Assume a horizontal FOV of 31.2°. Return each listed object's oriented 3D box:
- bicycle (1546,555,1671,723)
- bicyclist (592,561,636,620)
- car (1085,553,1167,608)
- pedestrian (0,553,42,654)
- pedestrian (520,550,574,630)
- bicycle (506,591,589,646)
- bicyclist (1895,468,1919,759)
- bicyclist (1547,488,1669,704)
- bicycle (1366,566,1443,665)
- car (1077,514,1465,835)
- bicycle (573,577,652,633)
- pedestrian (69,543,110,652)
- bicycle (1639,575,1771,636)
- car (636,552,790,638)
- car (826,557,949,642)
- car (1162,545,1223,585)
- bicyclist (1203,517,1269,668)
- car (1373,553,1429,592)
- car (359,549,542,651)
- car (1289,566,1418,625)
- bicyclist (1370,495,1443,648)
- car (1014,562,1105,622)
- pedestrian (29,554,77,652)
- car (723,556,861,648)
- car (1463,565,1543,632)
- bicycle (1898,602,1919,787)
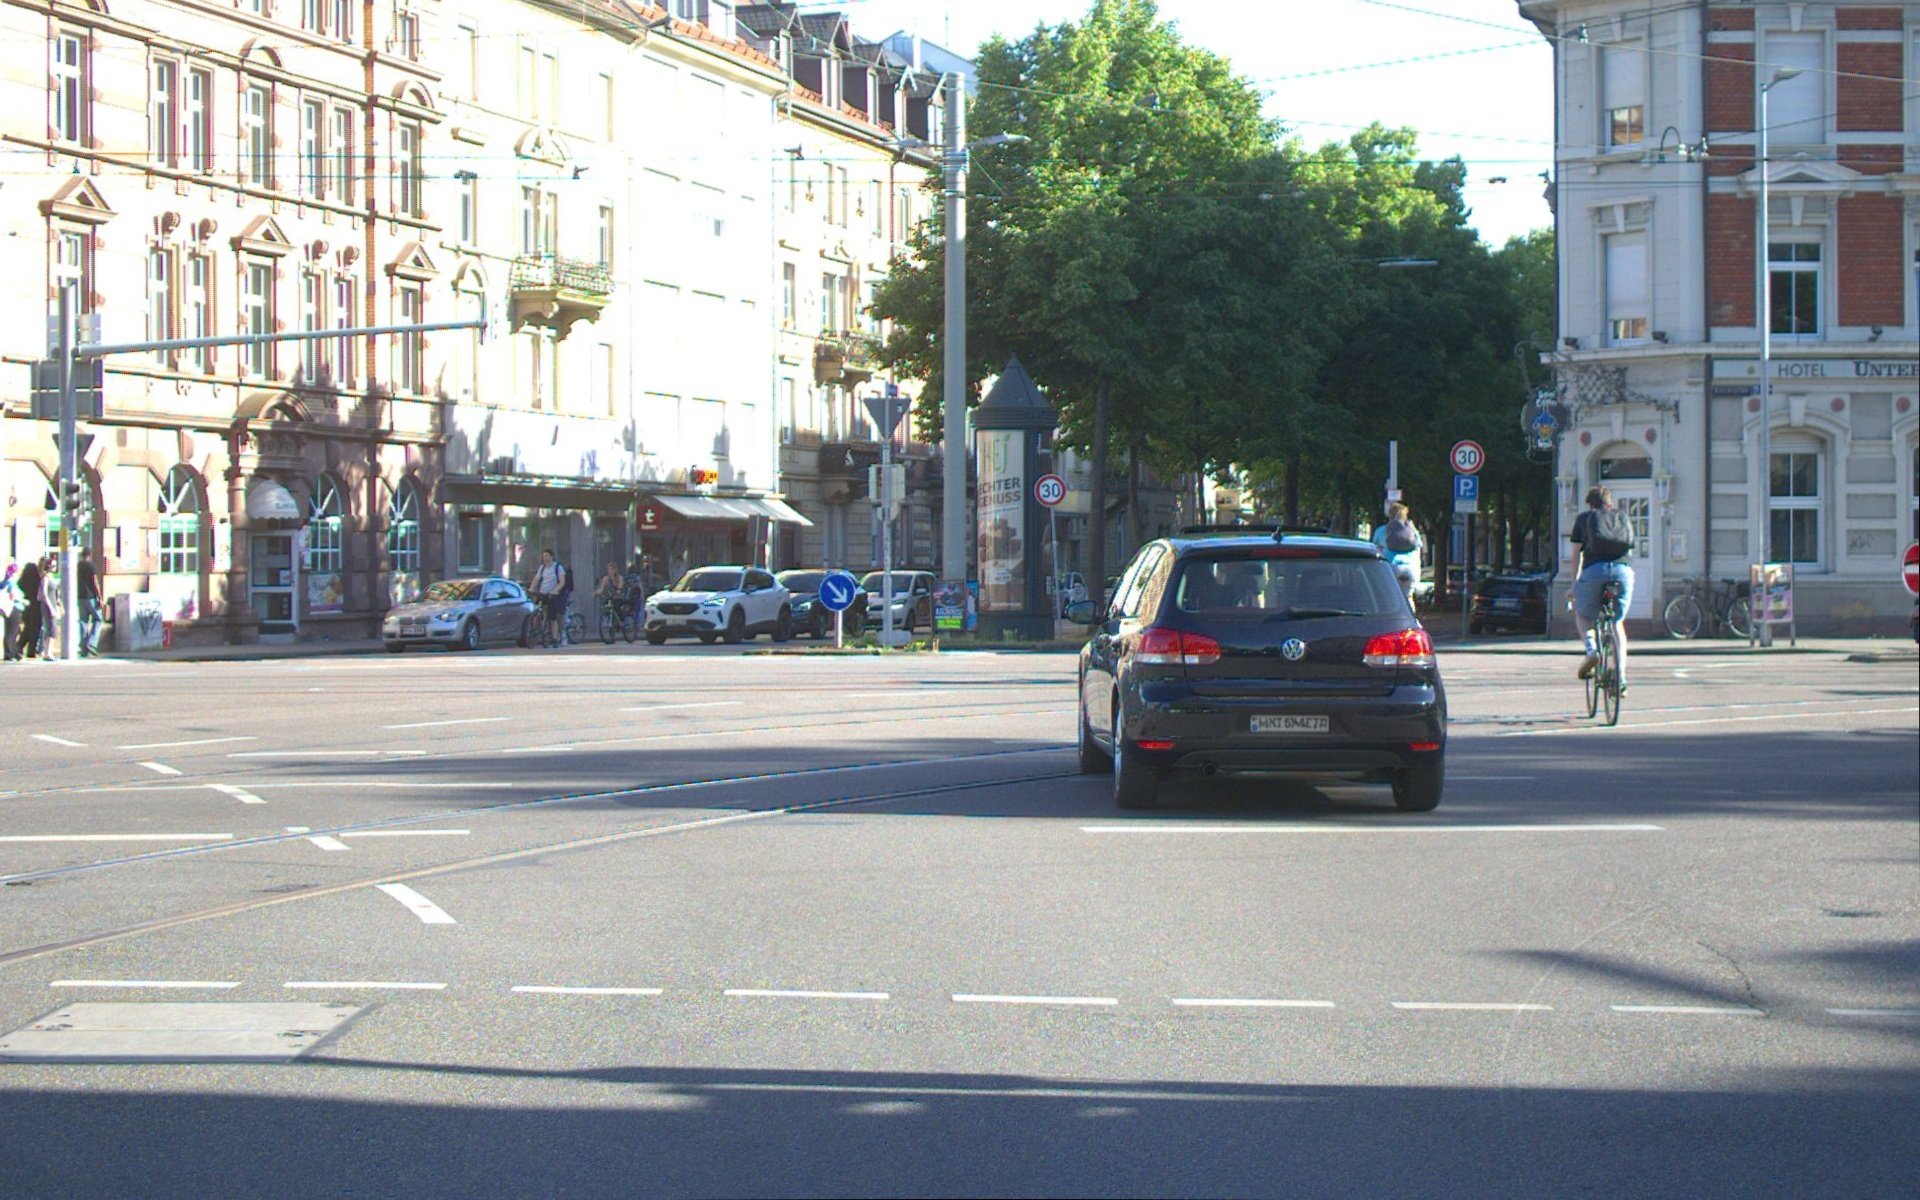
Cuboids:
[{"bbox_3d":[4.935,0.281,26.264,0.755,1.232,1.702,1,1,5],"label":"bicycle"},{"bbox_3d":[-7.078,-0.191,70.330,0.632,1.181,0.684,1,0,21],"label":"bicyclist"},{"bbox_3d":[5.940,-0.692,122.718,1.995,1.897,3.997,1,1,17],"label":"car"},{"bbox_3d":[-15.337,0.057,55.911,0.633,1.628,0.701,1,0,-4],"label":"pedestrian"},{"bbox_3d":[-7.833,-0.192,65.213,0.821,1.507,0.598,1,0,15],"label":"pedestrian"},{"bbox_3d":[-7.819,0.335,65.292,0.763,1.004,2.395,1,1,13],"label":"bicycle"},{"bbox_3d":[5.862,0.078,19.911,0.806,1.657,0.883,1,0,17],"label":"bicyclist"},{"bbox_3d":[4.908,-0.037,26.096,0.806,1.601,0.883,1,0,5],"label":"bicyclist"},{"bbox_3d":[4.811,0.157,37.151,0.650,1.028,1.770,1,1,13],"label":"bicycle"},{"bbox_3d":[1.620,0.323,19.179,1.728,1.502,4.051,1,2,-1],"label":"car"},{"bbox_3d":[-7.089,0.089,70.326,0.651,1.119,2.250,1,1,21],"label":"bicycle"},{"bbox_3d":[-15.094,-0.042,59.615,0.464,1.875,0.635,1,0,10],"label":"pedestrian"},{"bbox_3d":[12.371,0.084,57.118,2.049,0.994,0.630,0,0,3],"label":"bicycle"},{"bbox_3d":[-4.808,-0.105,67.428,1.994,1.612,3.998,1,1,11],"label":"car"},{"bbox_3d":[-1.644,-0.020,79.720,1.994,1.897,3.998,1,1,11],"label":"car"},{"bbox_3d":[8.982,-1.333,132.741,1.560,1.508,3.653,1,1,17],"label":"car"},{"bbox_3d":[2.797,-0.089,34.897,0.639,1.489,0.883,1,2,4],"label":"bicyclist"},{"bbox_3d":[17.282,-1.074,134.716,1.560,1.508,3.653,1,1,17],"label":"car"},{"bbox_3d":[-9.909,-0.009,67.155,1.995,1.897,3.997,1,1,17],"label":"car"},{"bbox_3d":[13.160,-0.168,114.977,3.990,1.897,1.998,1,1,16],"label":"car"},{"bbox_3d":[4.845,-0.310,37.243,0.690,1.627,0.883,1,0,12],"label":"bicyclist"},{"bbox_3d":[3.279,-0.283,112.708,1.995,1.897,3.997,1,1,17],"label":"car"},{"bbox_3d":[-15.104,0.046,57.263,0.633,1.628,0.701,1,0,-4],"label":"pedestrian"},{"bbox_3d":[-3.557,0.029,73.564,1.994,1.897,3.998,1,1,11],"label":"car"},{"bbox_3d":[13.065,-0.048,82.596,1.692,1.559,3.839,1,1,11],"label":"car"},{"bbox_3d":[5.925,0.536,20.124,0.755,1.027,1.779,1,1,17],"label":"bicycle"}]
